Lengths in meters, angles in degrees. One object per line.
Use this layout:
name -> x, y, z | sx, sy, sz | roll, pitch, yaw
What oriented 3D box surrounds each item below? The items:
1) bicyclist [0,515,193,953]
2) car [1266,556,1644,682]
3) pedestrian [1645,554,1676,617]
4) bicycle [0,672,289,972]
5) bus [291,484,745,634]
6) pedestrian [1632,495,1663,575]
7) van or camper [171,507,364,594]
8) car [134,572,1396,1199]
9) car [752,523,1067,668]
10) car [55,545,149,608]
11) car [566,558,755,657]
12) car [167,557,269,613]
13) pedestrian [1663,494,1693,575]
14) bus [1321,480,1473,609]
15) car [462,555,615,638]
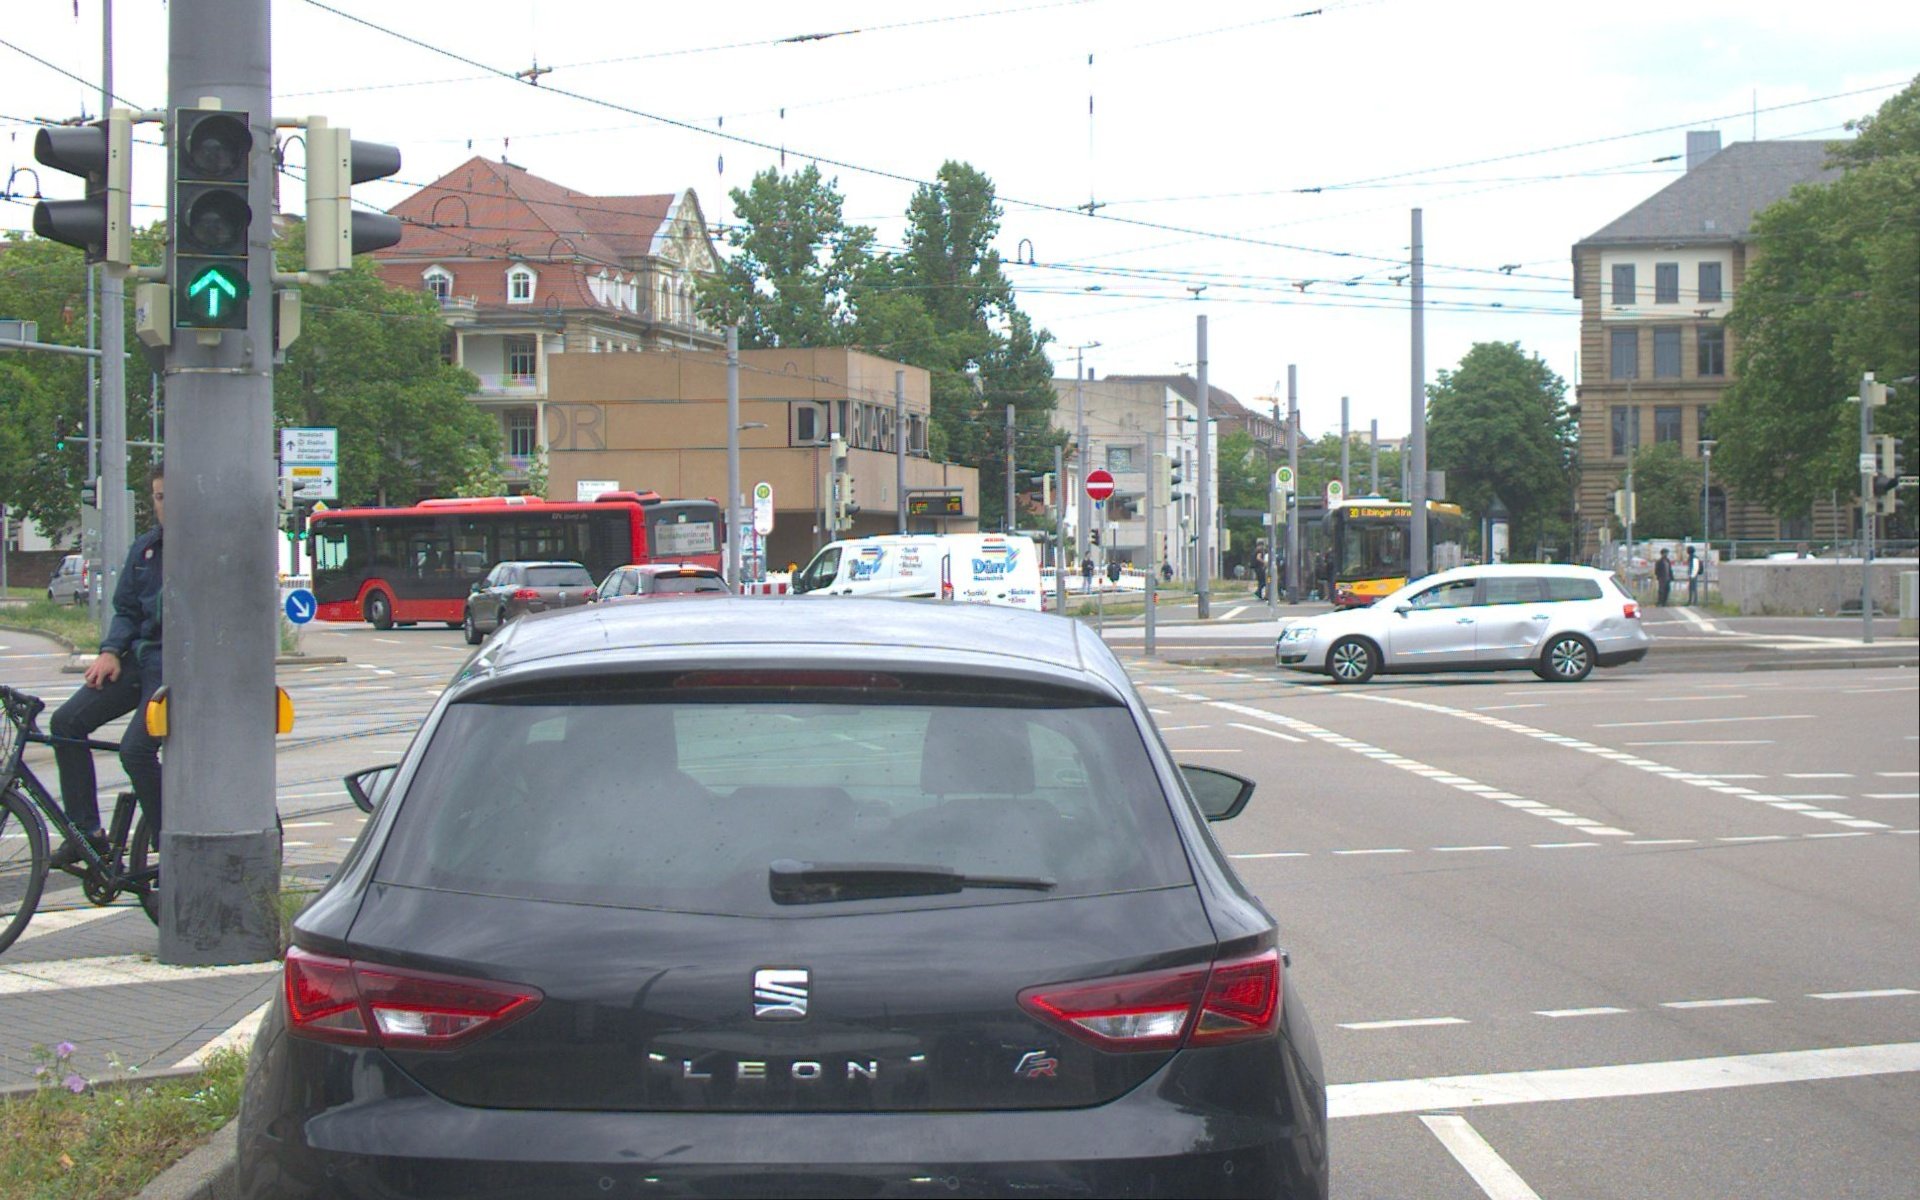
bicyclist -> -3.380, 0.494, 13.227 | 0.653, 1.633, 0.517 | -1, 1, -40
car -> 6.324, 0.228, 44.275 | 4.613, 1.477, 1.726 | -1, 1, 2
pedestrian -> 20.679, -0.442, 101.498 | 0.824, 1.847, 1.020 | 0, 1, 16
bicycle -> -3.428, 0.838, 13.183 | 1.609, 1.066, 0.528 | -1, 1, -40
bus -> -10.504, -0.923, 80.183 | 12.368, 3.286, 3.061 | 0, 1, 41
pedestrian -> 36.466, -3.432, 182.400 | 1.387, 4.239, 1.347 | 0, 1, 0
van or camper -> -27.799, -2.006, 138.204 | 7.134, 3.321, 2.875 | -1, 0, -45
car -> -0.295, 0.691, 6.774 | 1.746, 1.459, 4.000 | 0, 1, -1
car -> -0.810, -0.094, 50.521 | 1.994, 2.012, 5.030 | -1, 1, -38
car -> -27.665, -0.769, 110.806 | 1.993, 2.007, 4.000 | -1, 1, -28
car -> -5.108, 0.090, 58.140 | 1.857, 1.595, 4.206 | -1, 1, -25
car -> -21.157, -0.440, 97.885 | 1.993, 1.534, 4.001 | -1, 1, -25
pedestrian -> 38.014, -3.462, 182.103 | 1.307, 4.239, 1.347 | 0, 1, 0
bus -> 12.086, -1.494, 93.960 | 3.018, 3.257, 13.036 | 0, 1, 12
car -> -8.396, -0.097, 68.233 | 1.993, 1.560, 4.206 | -1, 1, -22
